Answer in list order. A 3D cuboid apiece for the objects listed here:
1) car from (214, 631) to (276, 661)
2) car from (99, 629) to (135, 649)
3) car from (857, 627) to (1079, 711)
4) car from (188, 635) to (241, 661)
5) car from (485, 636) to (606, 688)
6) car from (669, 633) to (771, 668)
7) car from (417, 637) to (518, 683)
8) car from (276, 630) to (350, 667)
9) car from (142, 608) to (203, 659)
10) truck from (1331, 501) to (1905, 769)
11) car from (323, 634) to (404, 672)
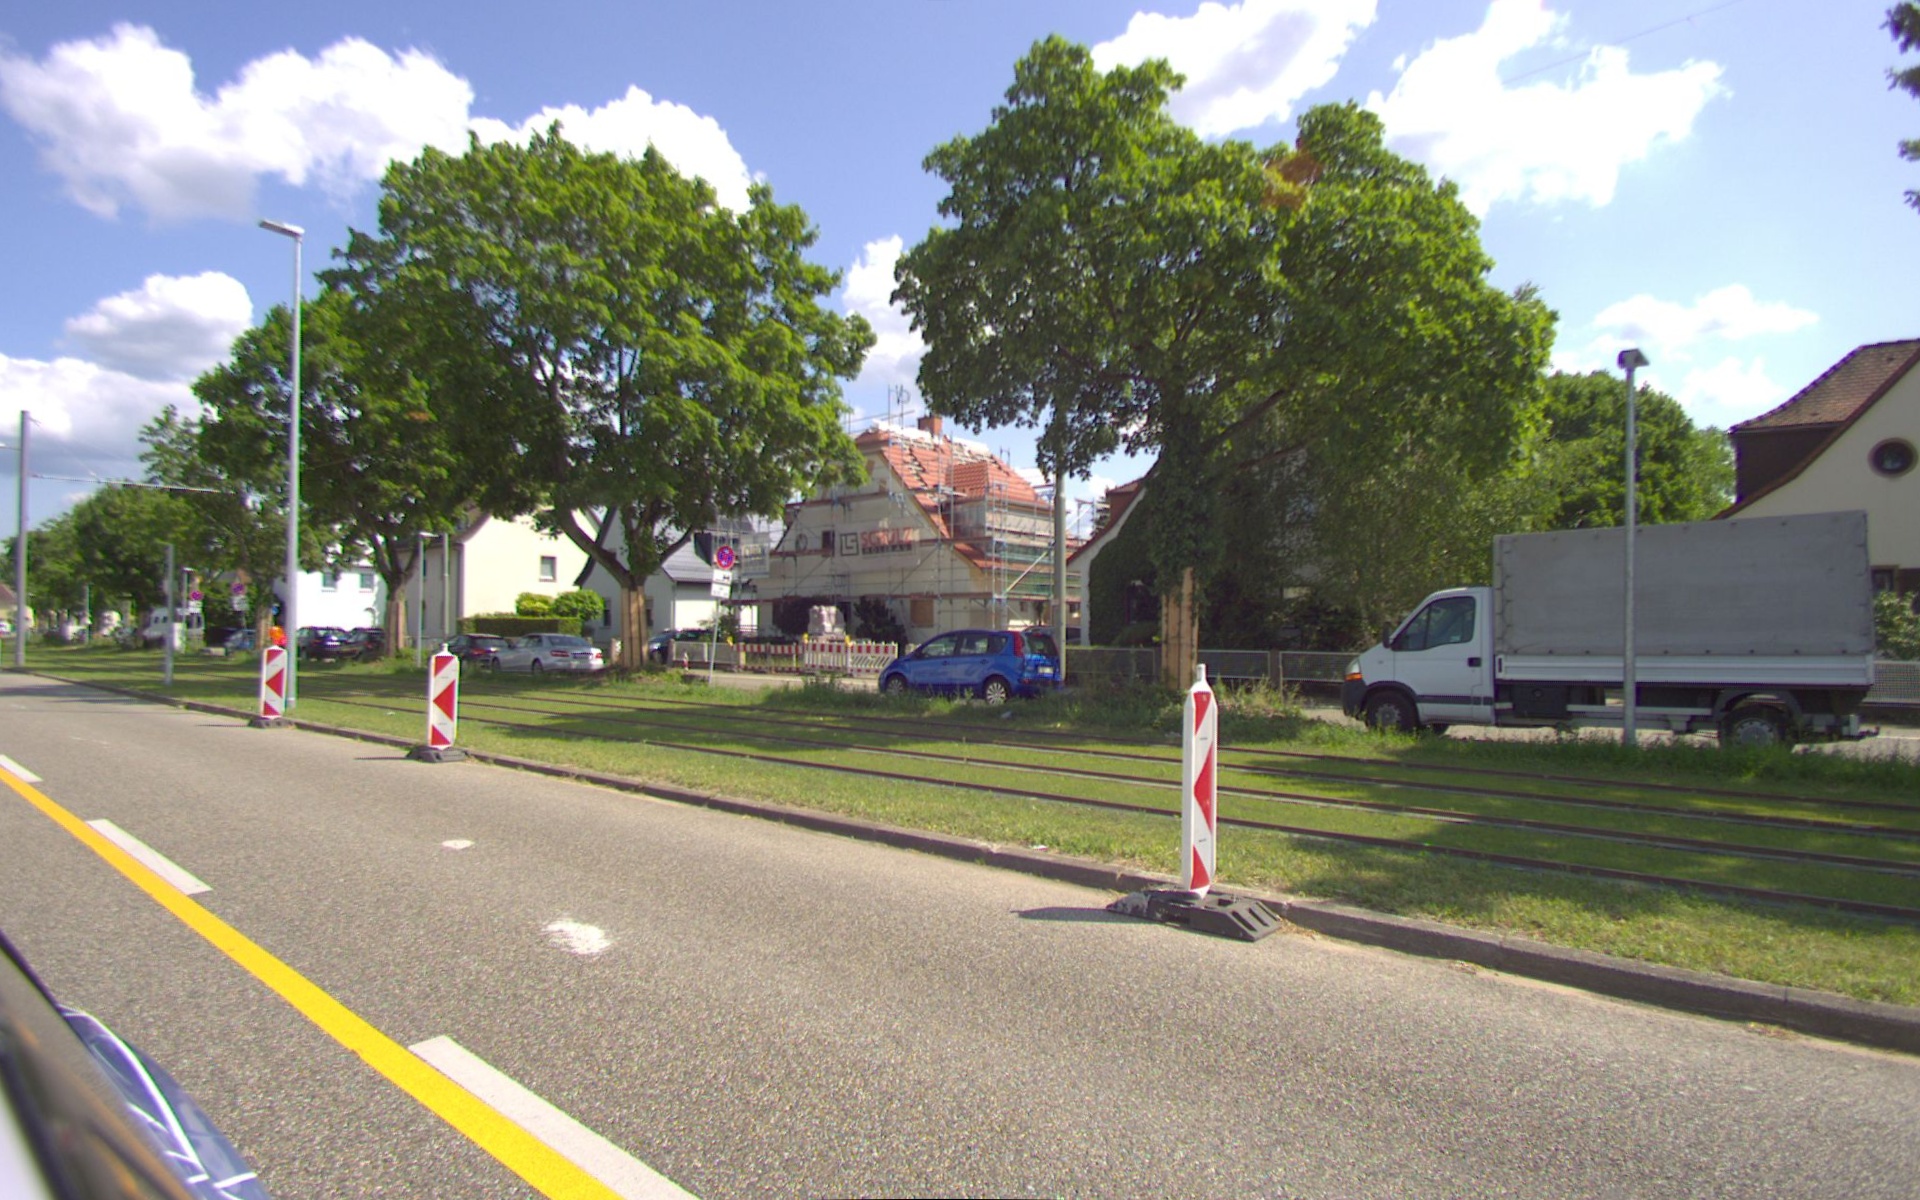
[{"bbox_3d":[-37.487,2.427,53.053,4.403,1.497,1.680,-3,-3,41],"label":"car"},{"bbox_3d":[-69.099,3.205,82.925,4.404,1.497,1.679,-4,-3,42],"label":"car"},{"bbox_3d":[0.065,1.351,20.275,4.403,1.497,1.680,-3,-3,41],"label":"car"},{"bbox_3d":[-44.471,2.874,60.333,4.403,1.497,1.680,-3,-3,41],"label":"car"},{"bbox_3d":[-13.085,1.930,31.850,4.520,1.497,1.765,-4,-3,42],"label":"car"},{"bbox_3d":[-10.920,2.291,46.214,1.702,1.497,4.345,-3,-3,41],"label":"car"},{"bbox_3d":[-17.515,2.118,35.896,4.403,1.497,1.680,-3,-3,41],"label":"car"},{"bbox_3d":[-29.488,2.223,46.077,4.403,1.584,1.680,-3,-3,41],"label":"car"},{"bbox_3d":[-49.510,2.160,63.610,5.080,3.061,2.108,-3,-3,41],"label":"car"},{"bbox_3d":[8.305,0.454,13.405,5.971,2.802,2.242,-2,-3,41],"label":"truck"},{"bbox_3d":[-25.174,2.252,42.654,4.403,1.497,1.680,-3,-3,41],"label":"car"}]
